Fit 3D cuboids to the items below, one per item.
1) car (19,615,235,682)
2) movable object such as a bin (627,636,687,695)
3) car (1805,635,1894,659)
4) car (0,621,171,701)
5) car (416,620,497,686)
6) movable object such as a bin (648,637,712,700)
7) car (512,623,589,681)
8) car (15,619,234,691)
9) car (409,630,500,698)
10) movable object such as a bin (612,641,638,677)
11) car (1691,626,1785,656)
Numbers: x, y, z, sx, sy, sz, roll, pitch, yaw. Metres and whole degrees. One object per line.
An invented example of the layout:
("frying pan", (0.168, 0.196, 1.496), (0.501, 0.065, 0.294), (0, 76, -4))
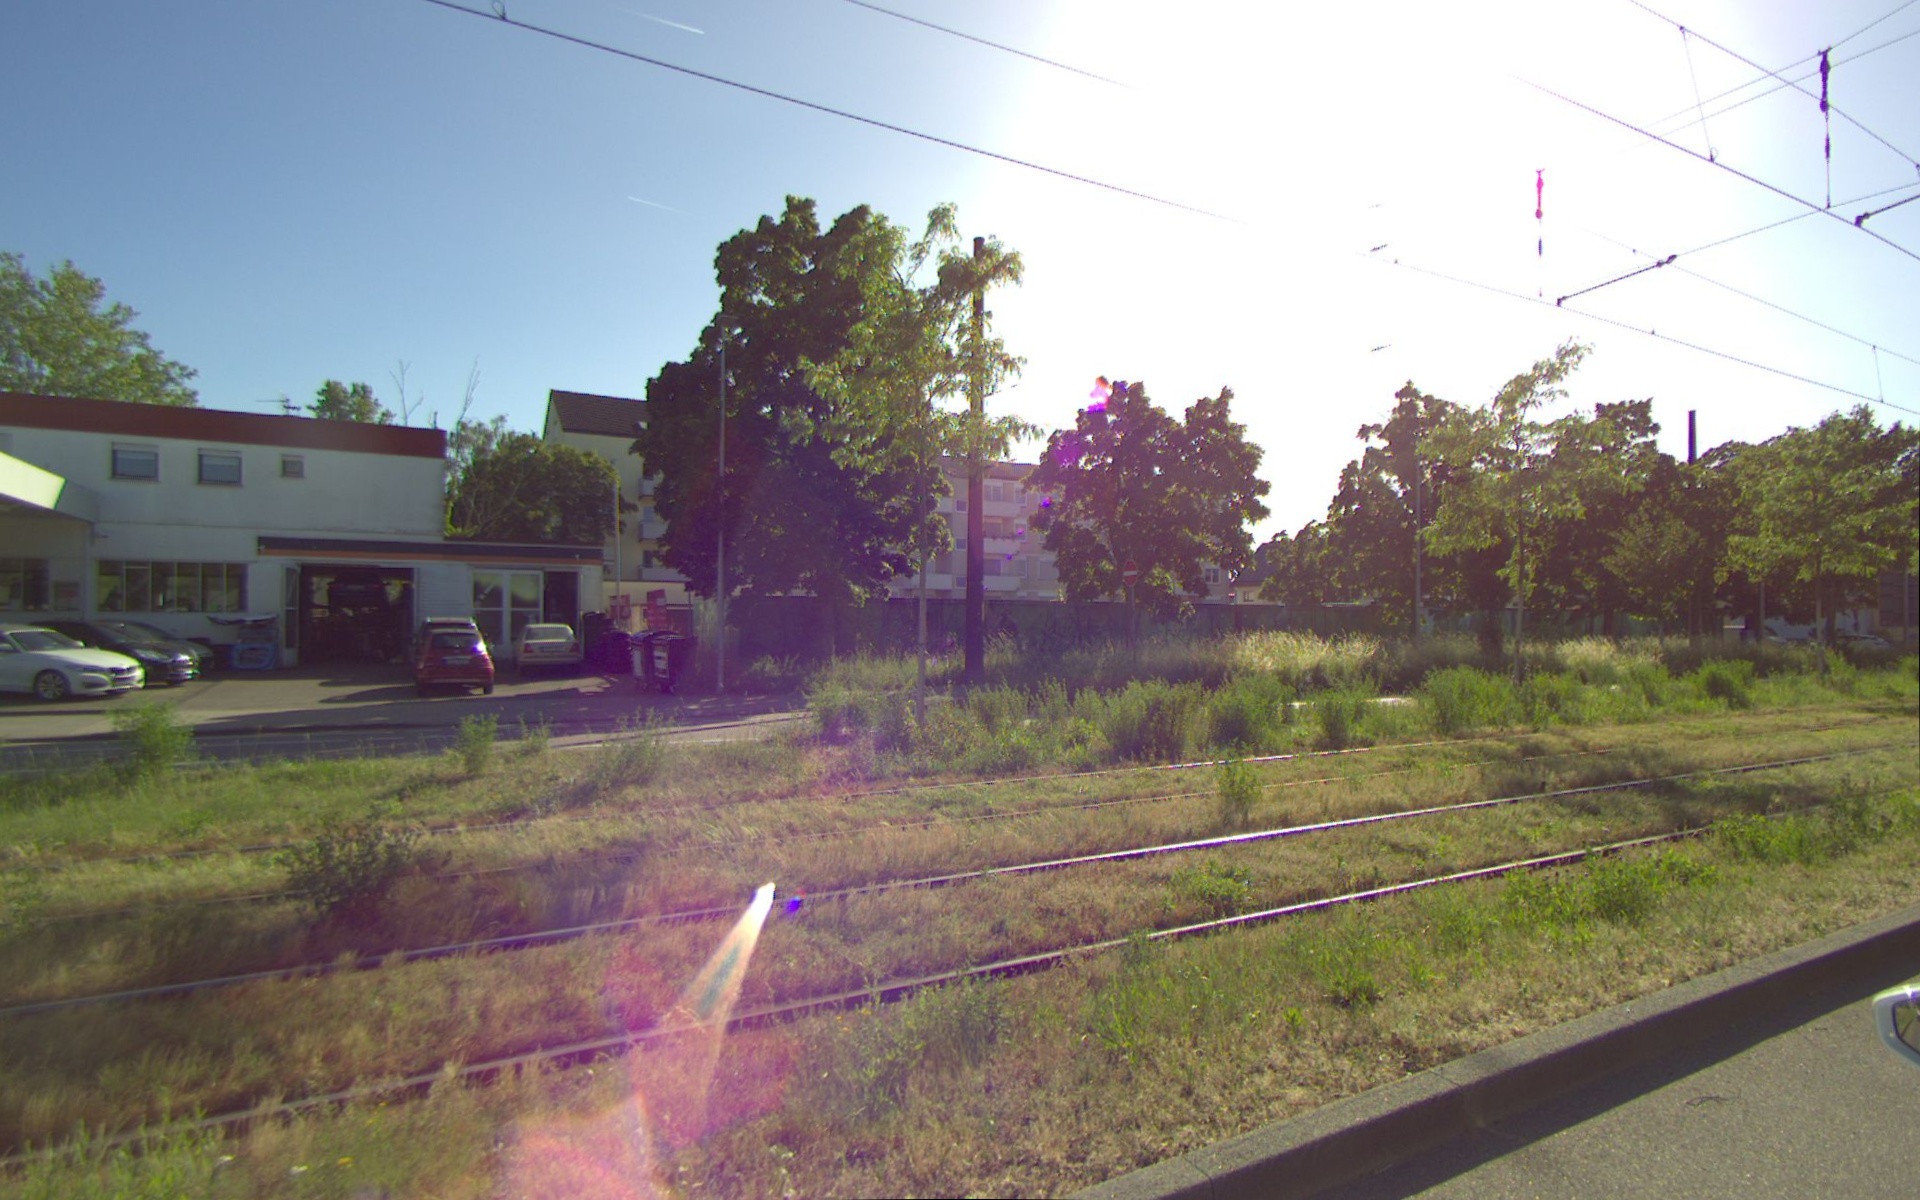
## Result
("car", (-21.889, 1.251, 26.498), (4.213, 1.571, 2.029), (1, -2, 8))
("movable object such as a bin", (-7.379, 1.582, 24.459), (1.109, 1.382, 1.217), (2, -2, -33))
("car", (57.040, 2.995, 64.477), (1.831, 1.422, 3.969), (4, -3, -30))
("car", (-19.747, 1.223, 20.996), (4.794, 1.528, 2.027), (2, -2, -2))
("car", (-14.368, 1.448, 28.590), (1.687, 1.655, 3.723), (1, 0, -32))
("movable object such as a bin", (-6.552, 1.573, 23.462), (1.109, 1.387, 1.217), (2, -1, -33))
("car", (-12.154, 1.479, 29.694), (1.684, 1.529, 3.802), (1, 0, -28))
("car", (-19.991, 1.291, 24.115), (3.910, 1.528, 1.852), (1, -2, 8))
("car", (-12.462, 1.504, 24.654), (1.624, 1.532, 3.680), (1, -2, -32))
("movable object such as a bin", (-9.868, 1.741, 29.593), (0.597, 1.043, 0.501), (2, -1, -33))
("car", (52.180, 2.704, 67.436), (1.881, 1.940, 4.665), (1, -2, -30))
